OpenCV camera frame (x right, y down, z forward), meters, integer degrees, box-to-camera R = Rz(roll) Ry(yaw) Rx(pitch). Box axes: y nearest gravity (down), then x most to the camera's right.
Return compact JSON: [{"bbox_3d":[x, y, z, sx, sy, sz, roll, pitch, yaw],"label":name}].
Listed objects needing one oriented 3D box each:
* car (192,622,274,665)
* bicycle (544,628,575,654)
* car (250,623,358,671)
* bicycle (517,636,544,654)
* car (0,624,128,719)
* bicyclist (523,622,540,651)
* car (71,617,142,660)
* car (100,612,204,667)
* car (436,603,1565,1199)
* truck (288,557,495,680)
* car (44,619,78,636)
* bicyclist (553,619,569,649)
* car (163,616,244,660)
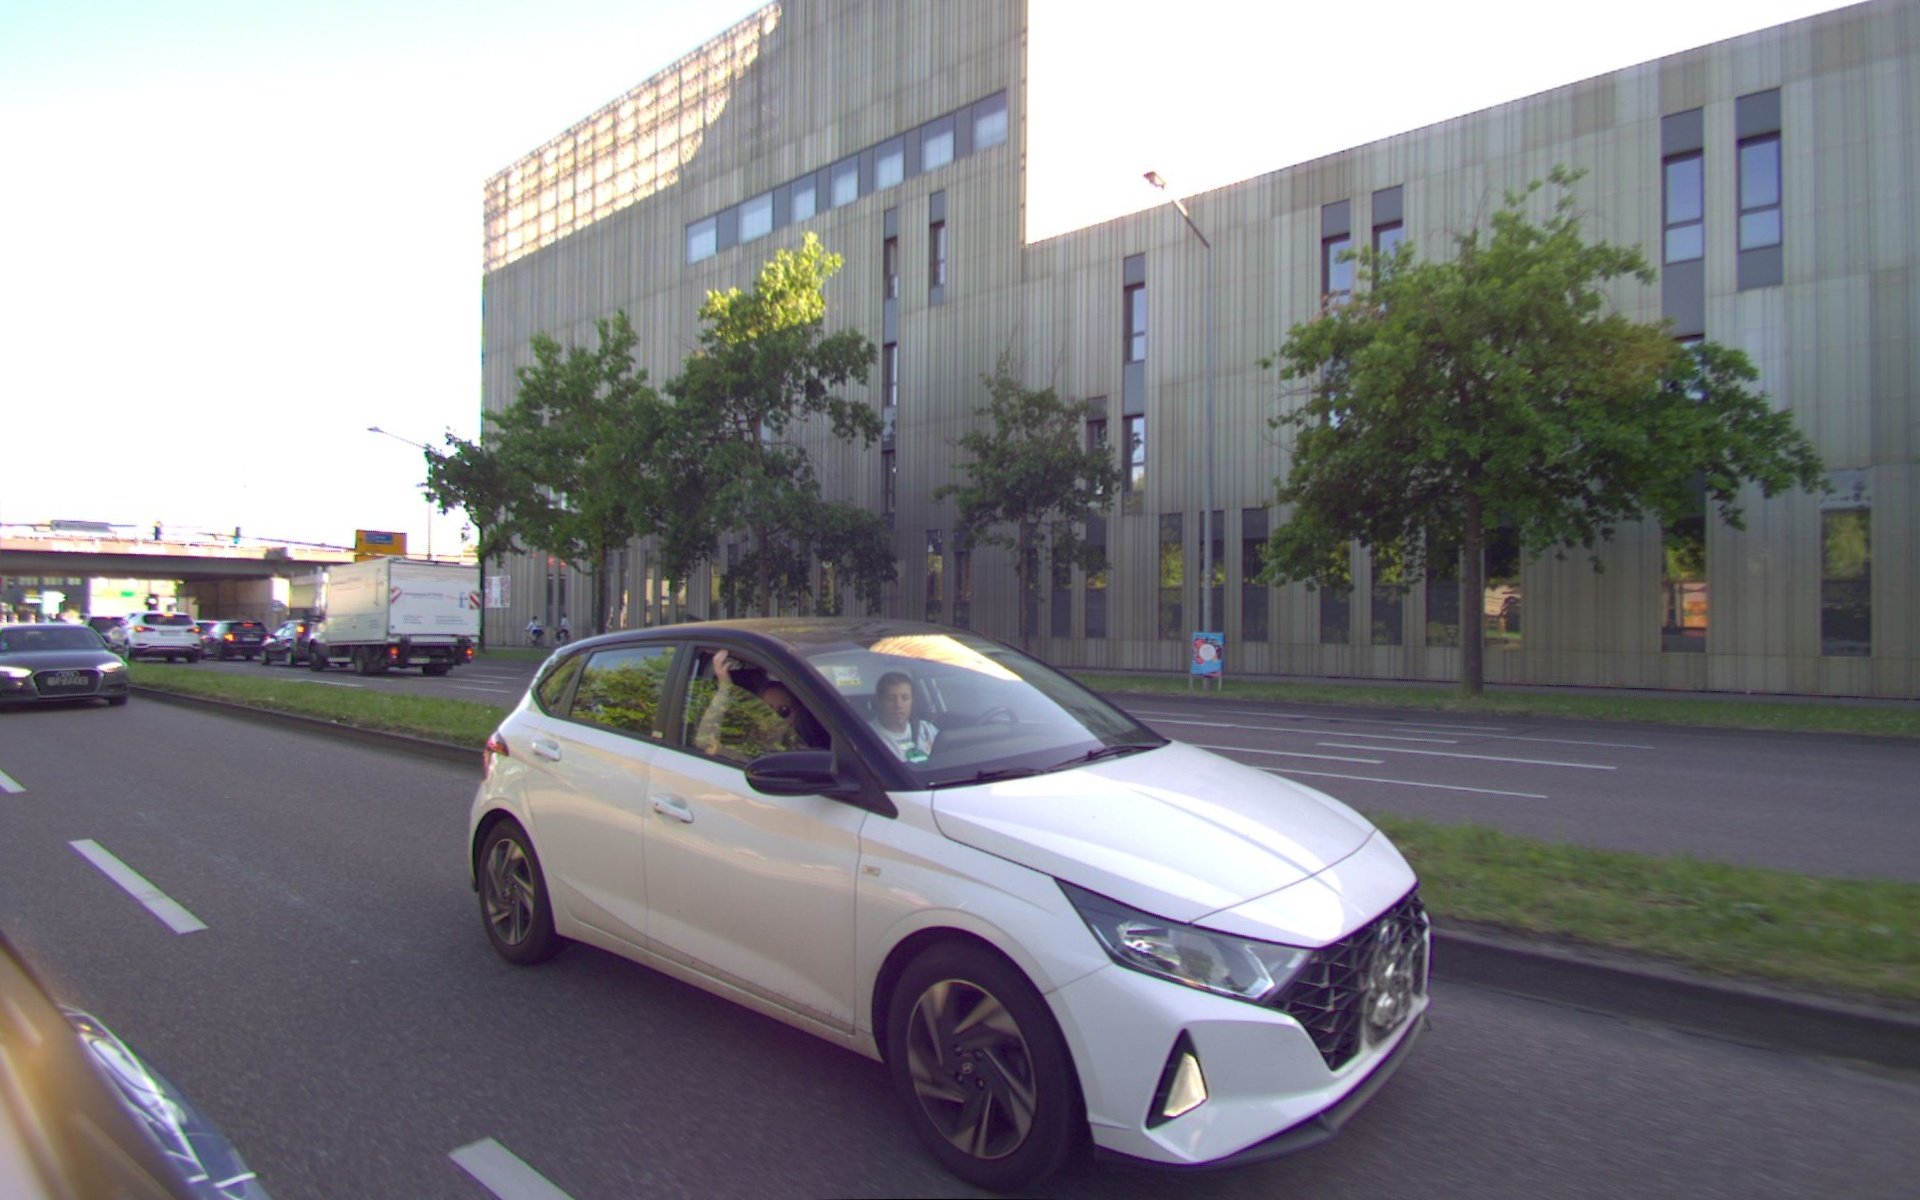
[{"bbox_3d":[-26.501,1.567,36.882,3.638,1.481,1.603,-1,-3,41],"label":"car"},{"bbox_3d":[-20.032,2.026,50.631,2.098,1.280,0.507,-1,-2,40],"label":"bicycle"},{"bbox_3d":[-20.990,1.477,32.313,3.997,1.435,1.816,-2,-3,41],"label":"car"},{"bbox_3d":[-21.241,2.215,50.049,1.753,0.897,0.507,-1,-2,40],"label":"bicycle"},{"bbox_3d":[-15.829,1.131,17.338,4.362,1.415,1.680,-1,-2,40],"label":"car"},{"bbox_3d":[-21.177,1.803,50.005,0.752,1.453,0.502,-1,-2,40],"label":"bicyclist"},{"bbox_3d":[-32.726,1.462,38.774,3.211,1.592,1.585,-1,-3,42],"label":"car"},{"bbox_3d":[-26.783,1.301,33.491,4.656,1.695,1.805,-1,-3,41],"label":"car"},{"bbox_3d":[-0.209,0.751,3.844,4.071,1.419,1.760,-1,-1,40],"label":"car"},{"bbox_3d":[-15.715,0.552,27.759,7.111,2.983,2.658,-1,-3,41],"label":"truck"},{"bbox_3d":[-82.714,2.506,93.062,4.878,1.452,1.685,-1,-3,41],"label":"car"},{"bbox_3d":[-19.955,1.689,50.574,0.644,1.518,0.502,-1,-2,40],"label":"bicyclist"},{"bbox_3d":[-30.604,1.505,40.907,3.998,1.669,1.822,0,-2,41],"label":"car"}]
